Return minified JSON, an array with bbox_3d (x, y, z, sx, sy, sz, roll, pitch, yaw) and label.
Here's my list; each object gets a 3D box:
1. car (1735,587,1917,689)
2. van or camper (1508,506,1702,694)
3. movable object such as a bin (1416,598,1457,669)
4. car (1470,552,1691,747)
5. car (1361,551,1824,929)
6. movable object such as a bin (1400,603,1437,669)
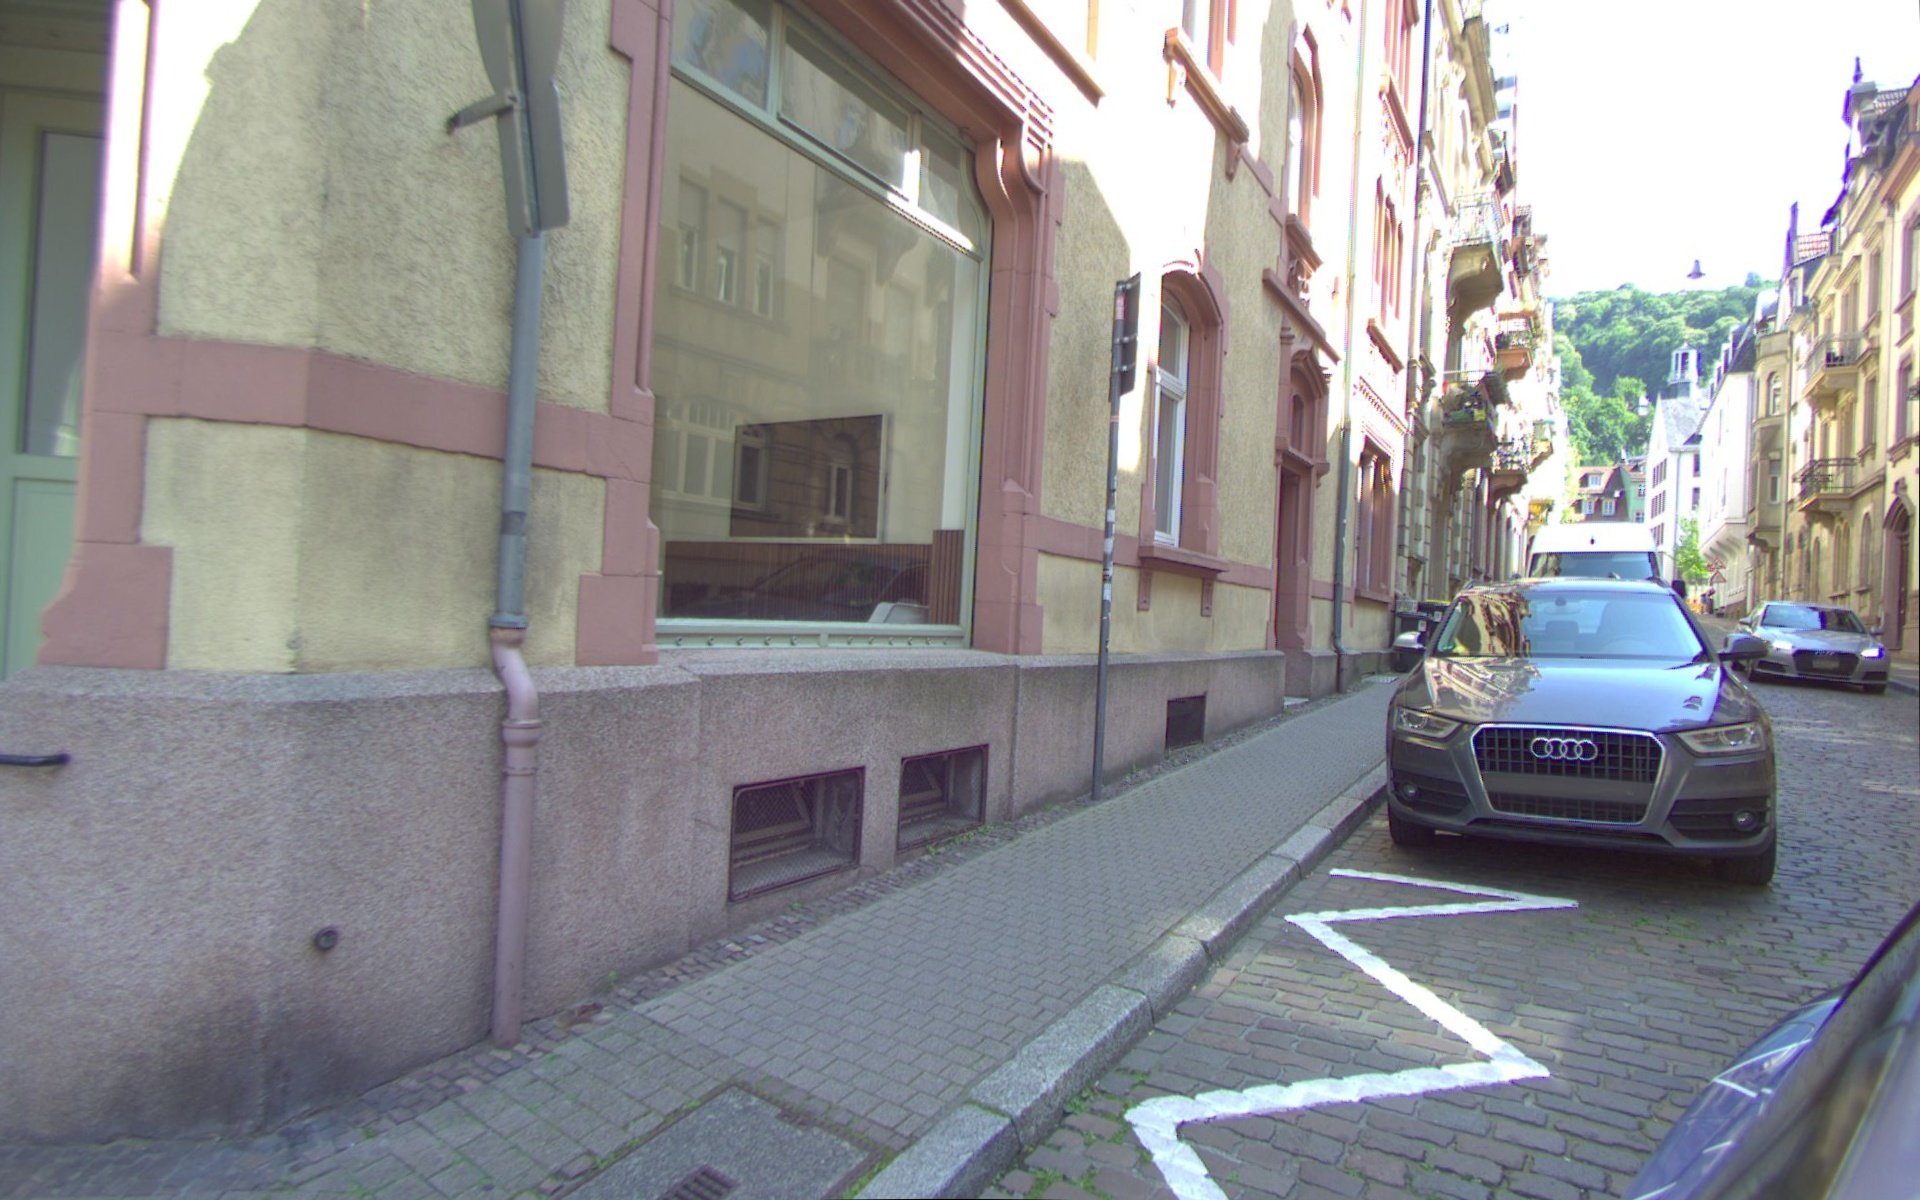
[{"bbox_3d":[15.158,0.583,17.958,1.864,1.511,4.330,2,1,33],"label":"car"},{"bbox_3d":[10.794,-0.110,17.119,2.210,2.551,6.691,3,2,32],"label":"van or camper"},{"bbox_3d":[7.689,0.538,16.334,0.514,1.103,0.416,2,-1,34],"label":"movable object such as a bin"},{"bbox_3d":[6.829,0.424,11.148,1.749,1.727,3.953,0,0,33],"label":"car"},{"bbox_3d":[3.976,0.568,6.590,1.848,1.603,4.212,1,1,32],"label":"car"},{"bbox_3d":[6.992,0.549,15.422,0.437,0.969,0.345,2,-1,34],"label":"movable object such as a bin"}]
